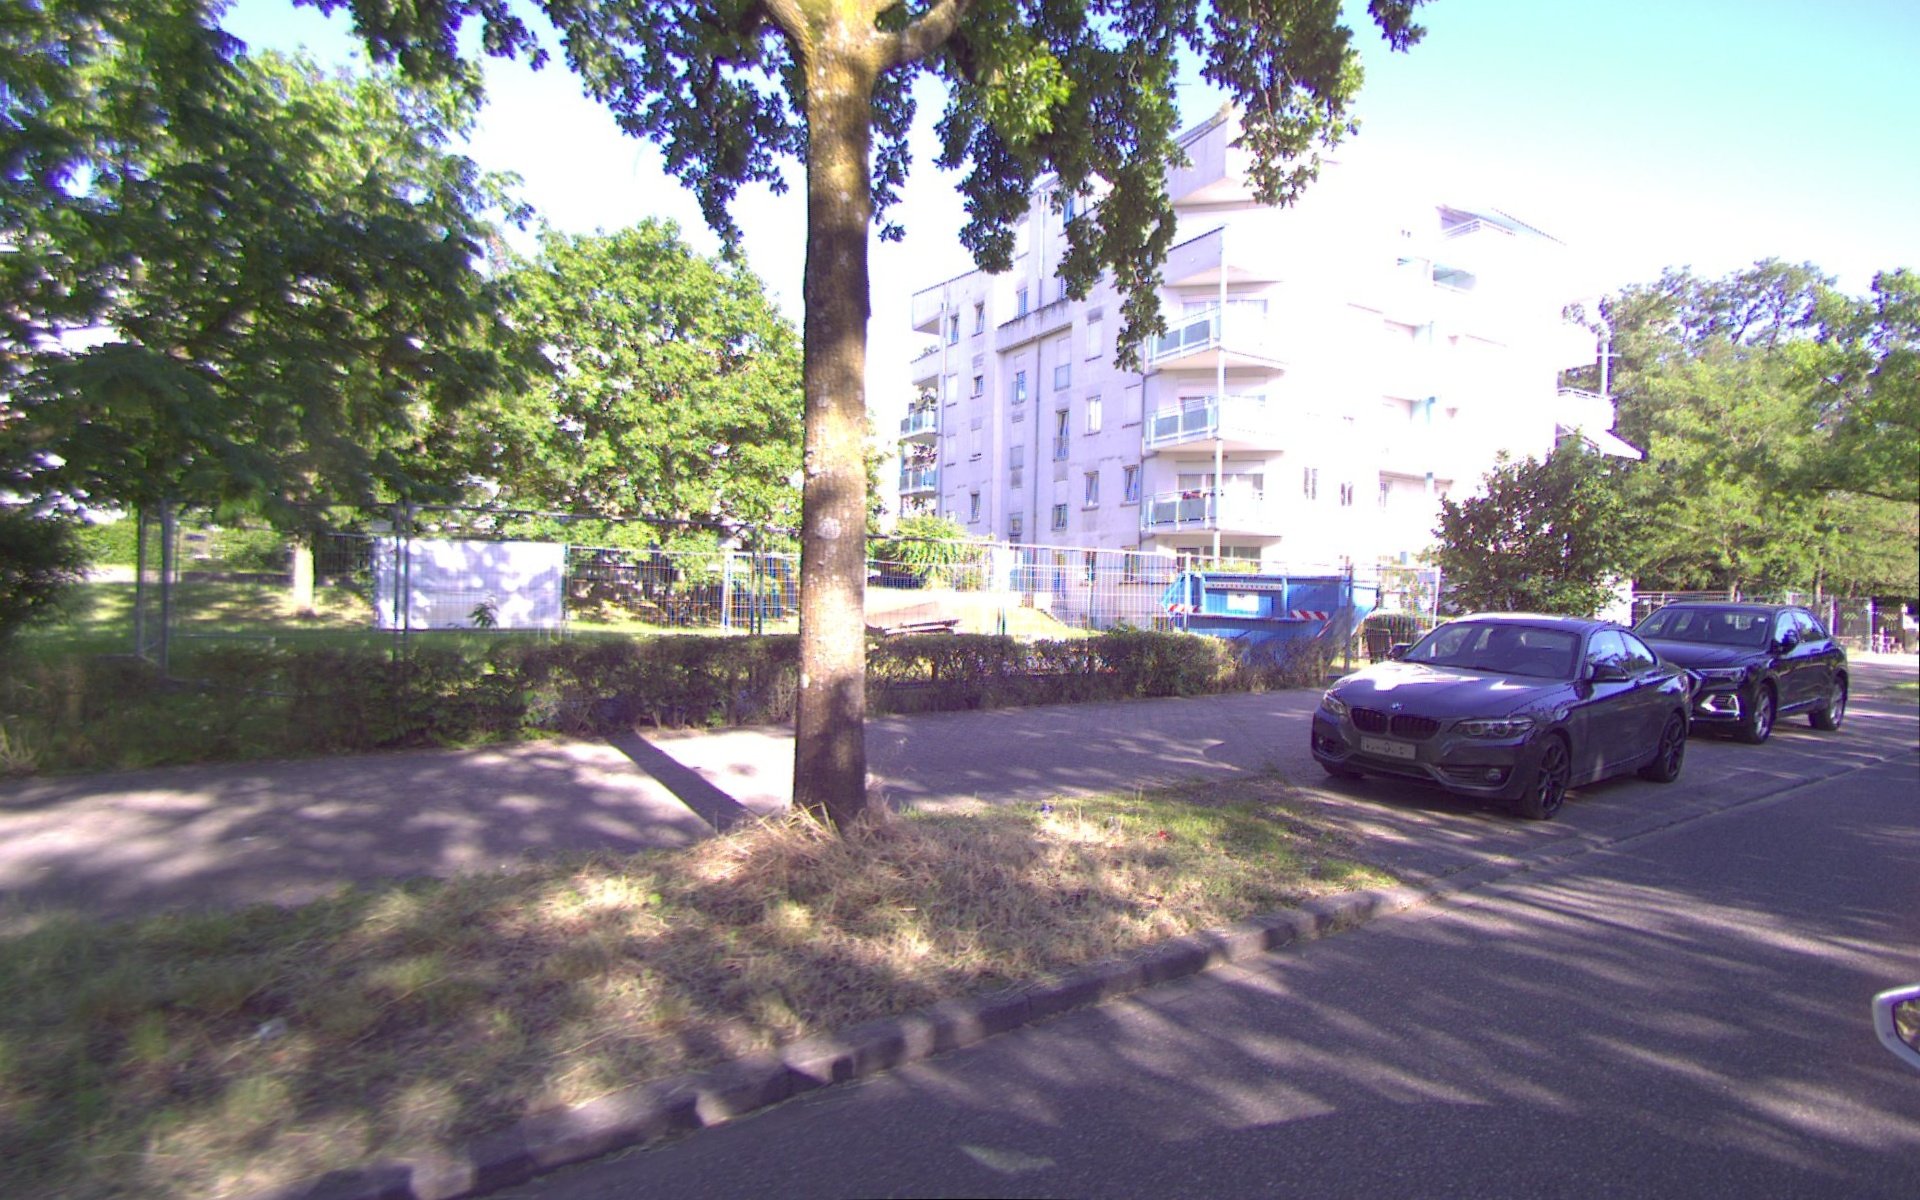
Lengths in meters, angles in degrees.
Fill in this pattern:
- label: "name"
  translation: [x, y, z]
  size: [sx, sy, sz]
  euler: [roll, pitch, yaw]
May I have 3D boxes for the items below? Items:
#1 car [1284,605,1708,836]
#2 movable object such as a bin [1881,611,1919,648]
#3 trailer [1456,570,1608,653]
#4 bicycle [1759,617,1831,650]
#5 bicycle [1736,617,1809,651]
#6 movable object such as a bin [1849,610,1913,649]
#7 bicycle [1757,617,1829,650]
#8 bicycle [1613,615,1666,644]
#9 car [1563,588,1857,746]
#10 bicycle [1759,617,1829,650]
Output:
- label: "car"
  translation: [4.728, 0.824, 8.623]
  size: [4.101, 1.452, 1.702]
  euler: [1, 2, -39]
- label: "movable object such as a bin"
  translation: [38.105, 1.182, 40.414]
  size: [1.122, 1.455, 1.273]
  euler: [1, 0, 22]
- label: "trailer"
  translation: [16.314, 0.322, 28.601]
  size: [4.297, 2.149, 1.854]
  euler: [1, 2, -32]
- label: "bicycle"
  translation: [28.953, 1.148, 34.845]
  size: [1.894, 1.040, 0.398]
  euler: [2, 0, 43]
- label: "bicycle"
  translation: [26.789, 1.106, 33.146]
  size: [1.848, 1.040, 0.398]
  euler: [2, 0, 43]
- label: "movable object such as a bin"
  translation: [35.695, 1.123, 38.939]
  size: [1.301, 1.455, 1.272]
  euler: [1, 0, -7]
- label: "bicycle"
  translation: [28.336, 1.131, 34.193]
  size: [1.838, 1.040, 0.398]
  euler: [2, 0, 43]
- label: "bicycle"
  translation: [26.186, 1.122, 38.745]
  size: [0.396, 1.040, 1.687]
  euler: [2, 0, -29]
- label: "car"
  translation: [9.628, 0.748, 12.810]
  size: [4.179, 1.643, 1.763]
  euler: [1, 2, -36]
- label: "bicycle"
  translation: [28.638, 1.137, 34.494]
  size: [1.817, 1.040, 0.398]
  euler: [2, 0, 43]
